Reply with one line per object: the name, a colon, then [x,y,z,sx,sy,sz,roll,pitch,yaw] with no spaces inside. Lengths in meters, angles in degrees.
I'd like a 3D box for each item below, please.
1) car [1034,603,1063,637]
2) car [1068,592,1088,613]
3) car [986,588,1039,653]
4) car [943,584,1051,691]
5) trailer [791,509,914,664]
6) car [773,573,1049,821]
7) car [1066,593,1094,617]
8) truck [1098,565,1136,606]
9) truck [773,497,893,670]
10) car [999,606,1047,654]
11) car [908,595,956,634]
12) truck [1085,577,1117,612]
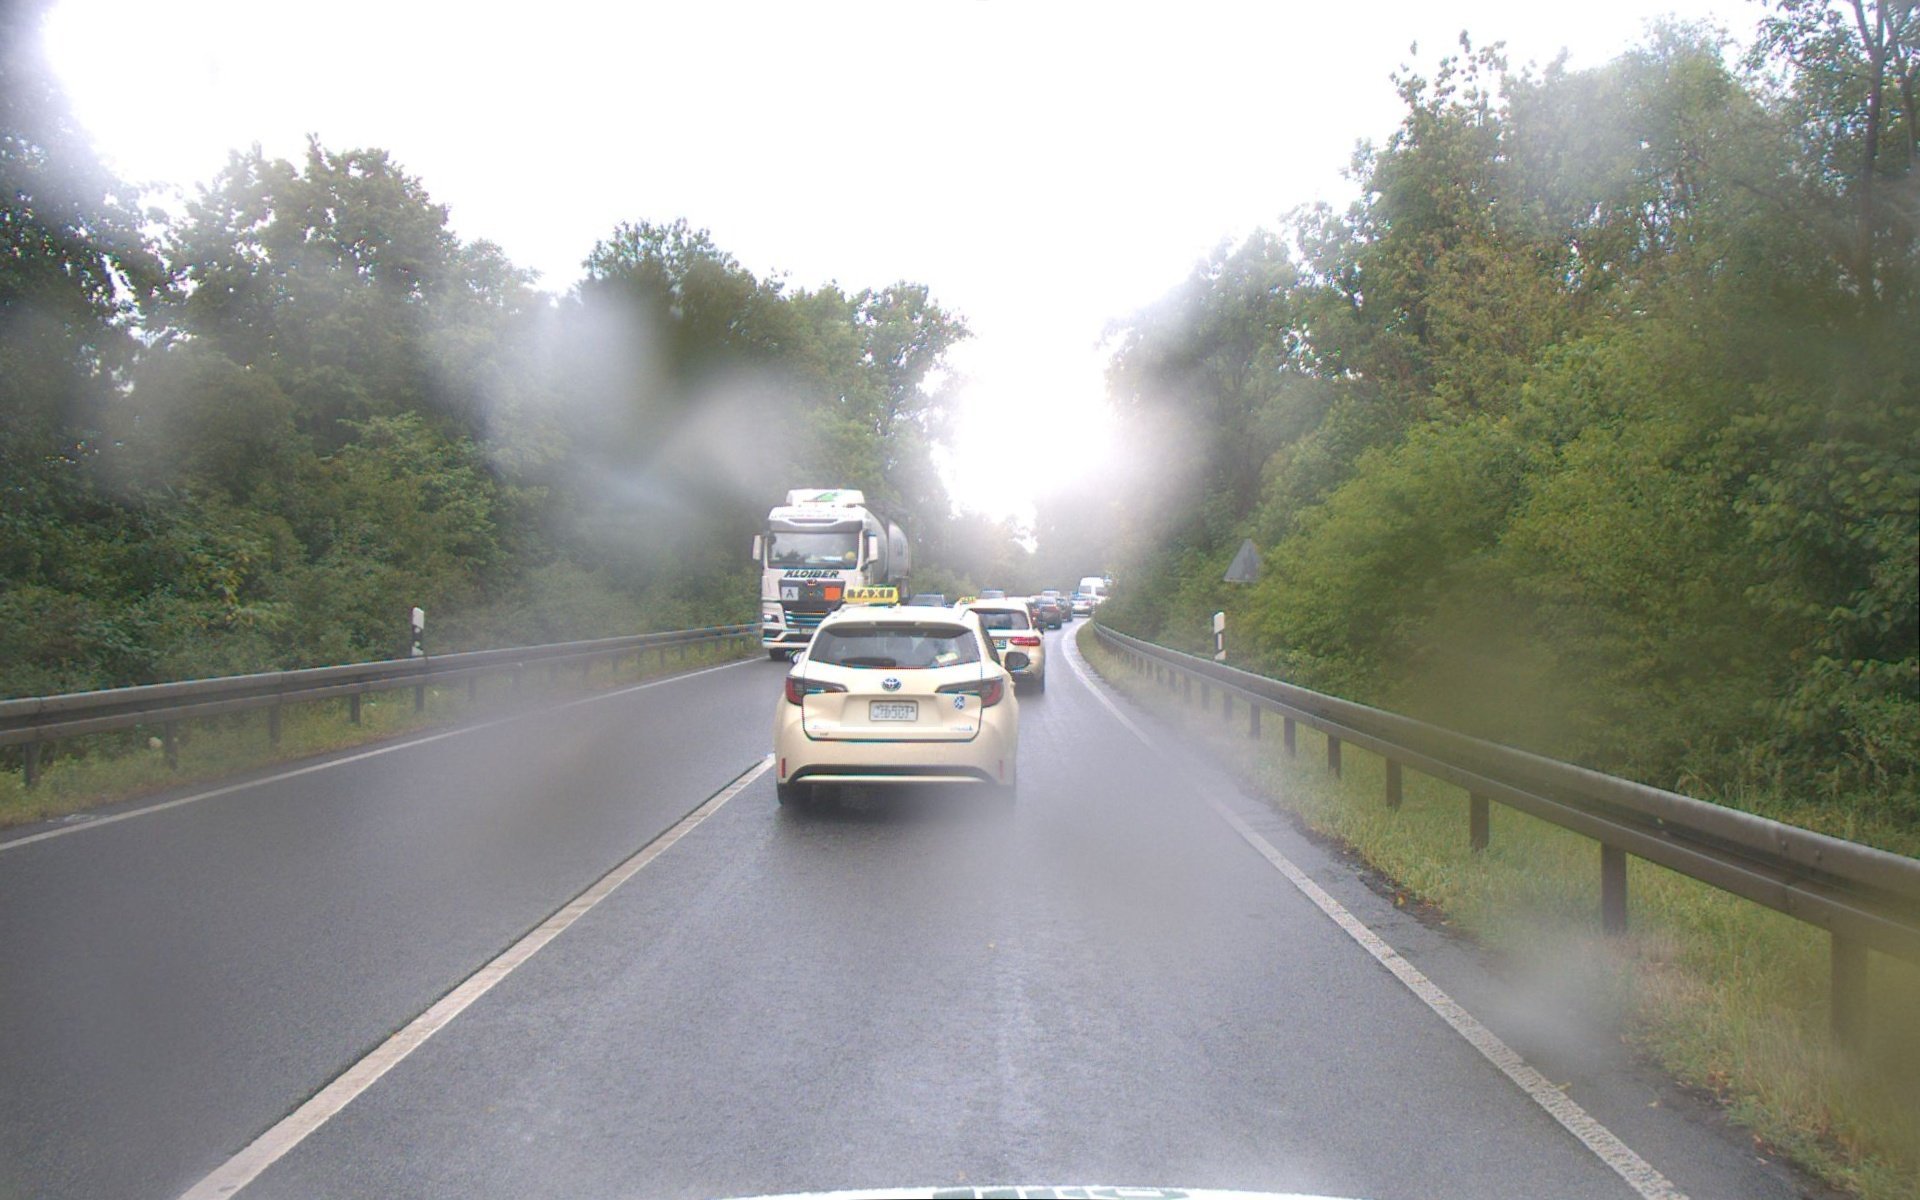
car: [4.147,0.927,76.994,1.142,1.574,2.606,1,-1,7]
car: [12.293,0.263,172.157,1.550,2.049,3.764,1,-1,12]
car: [1.323,0.517,41.954,1.273,1.574,3.260,1,-1,2]
car: [0.650,0.594,27.451,1.633,1.608,3.893,1,-1,2]
trailer: [-2.840,-0.307,45.803,2.483,3.892,7.794,1,-1,3]
car: [-0.344,0.660,13.013,1.796,1.608,4.156,1,-1,-1]
car: [8.285,0.352,114.354,1.732,1.574,3.816,1,-1,7]
truck: [15.025,-1.371,157.935,3.041,3.745,7.005,1,-1,10]
truck: [-3.003,-0.355,40.421,2.484,3.892,5.244,1,-1,0]
car: [2.166,1.002,56.857,1.577,1.574,3.815,0,0,3]
car: [-1.143,0.609,68.986,1.671,1.542,3.914,1,-1,4]
truck: [11.622,-0.417,136.663,2.496,2.760,7.538,1,-1,4]
